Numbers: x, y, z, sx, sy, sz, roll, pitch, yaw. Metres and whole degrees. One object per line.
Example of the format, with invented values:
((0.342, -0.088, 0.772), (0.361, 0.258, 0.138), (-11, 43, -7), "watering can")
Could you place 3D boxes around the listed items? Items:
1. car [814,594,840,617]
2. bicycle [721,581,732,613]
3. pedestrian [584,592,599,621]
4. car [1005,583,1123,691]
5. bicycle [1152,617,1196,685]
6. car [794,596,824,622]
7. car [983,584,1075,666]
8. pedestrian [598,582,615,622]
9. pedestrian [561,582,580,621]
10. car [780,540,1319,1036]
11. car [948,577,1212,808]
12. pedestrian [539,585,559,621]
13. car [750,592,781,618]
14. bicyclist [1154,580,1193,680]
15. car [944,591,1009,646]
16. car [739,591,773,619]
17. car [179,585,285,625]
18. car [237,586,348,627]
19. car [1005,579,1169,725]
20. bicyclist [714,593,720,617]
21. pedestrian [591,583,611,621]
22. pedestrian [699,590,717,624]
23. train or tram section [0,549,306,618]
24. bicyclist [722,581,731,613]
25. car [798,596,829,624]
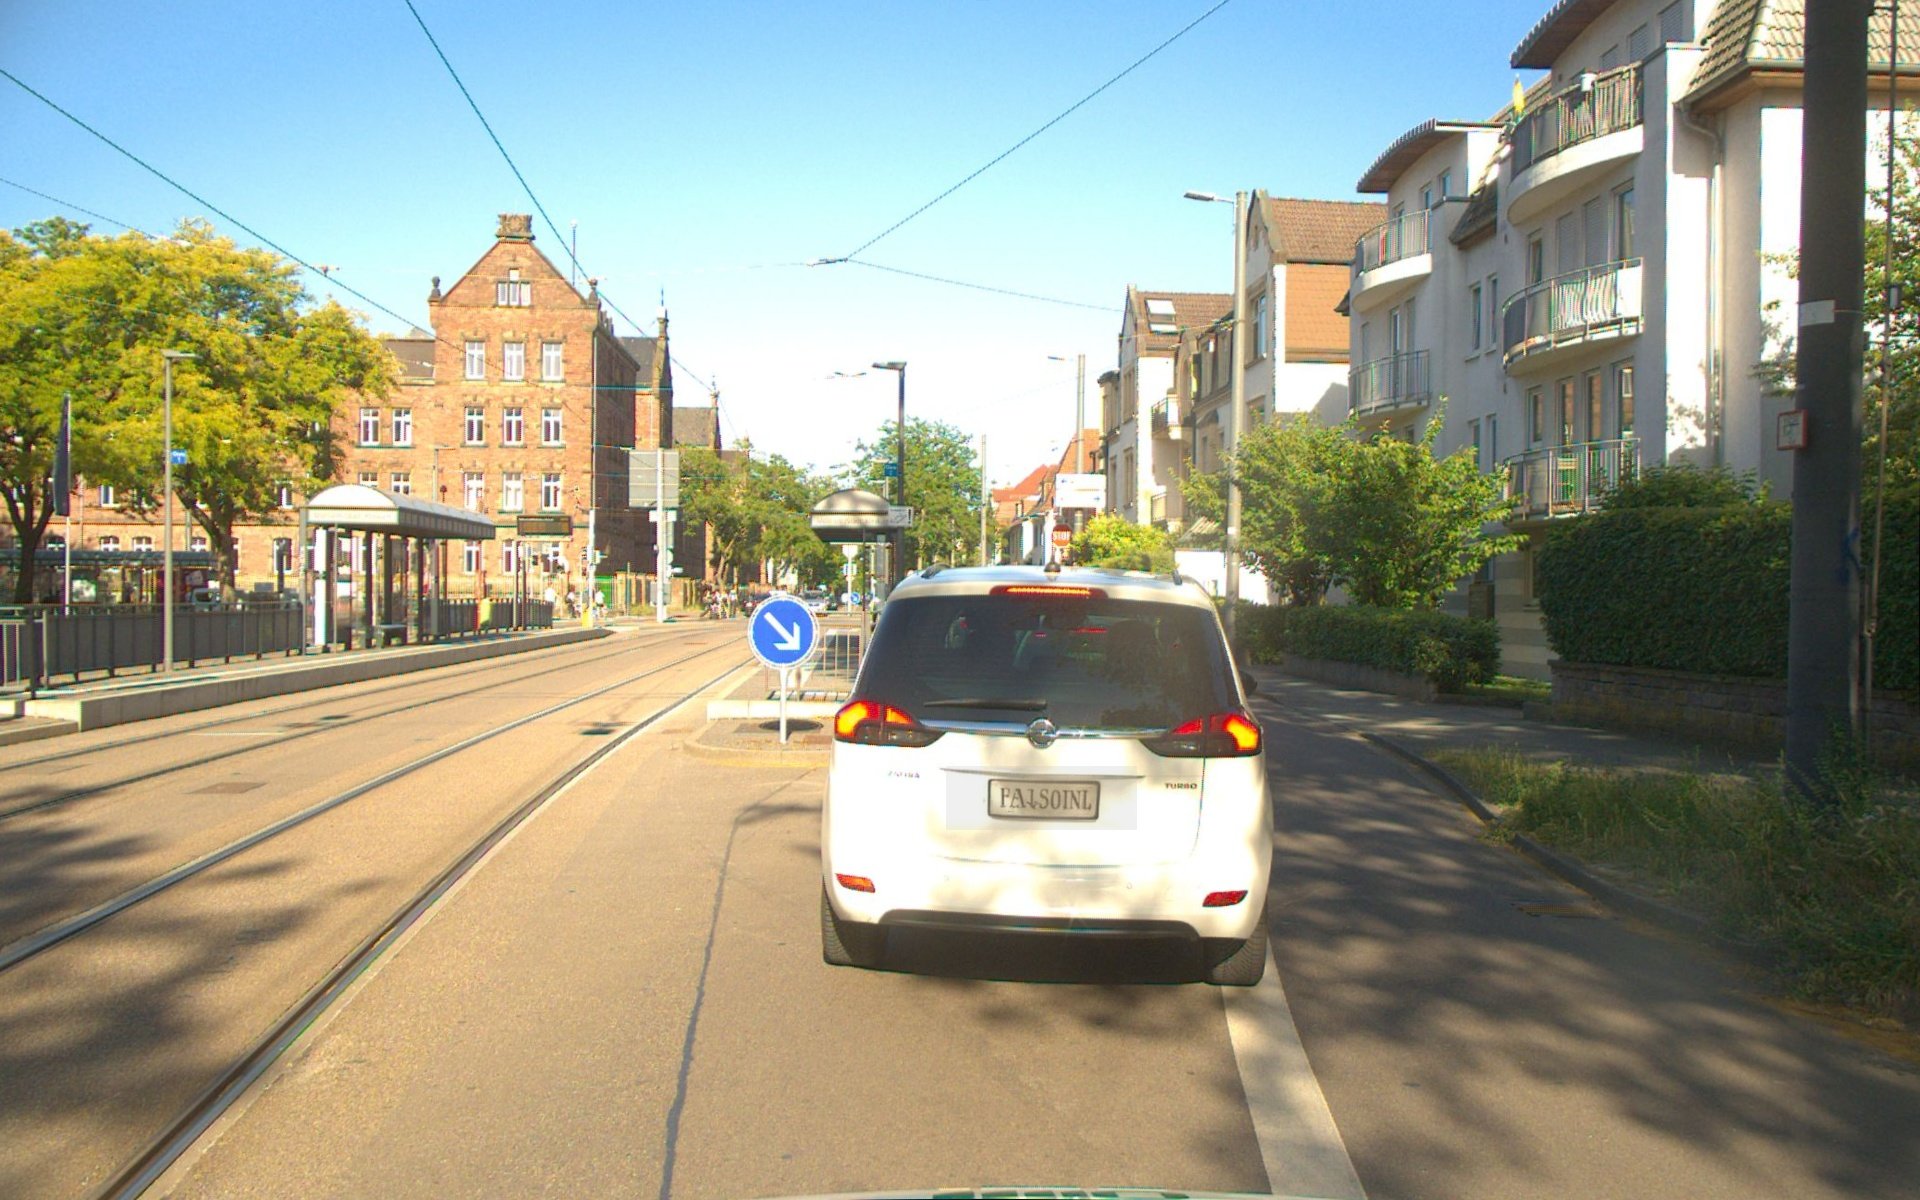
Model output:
((-10.369, 0.449, 128.895), (1.711, 1.746, 3.999), (1, 0, -1), "car")
((-15.359, -0.198, 108.802), (0.477, 2.049, 1.405), (0, 0, -1), "bicycle")
((-21.145, 0.375, 94.957), (0.640, 1.640, 0.711), (1, -1, 1), "pedestrian")
((1.786, 0.577, 28.283), (1.867, 1.690, 4.002), (0, 0, 4), "car")
((3.714, 0.870, 28.812), (0.611, 1.116, 1.974), (0, 0, 3), "bicycle")
((-10.481, 0.603, 115.039), (1.711, 1.746, 3.999), (1, 0, -1), "car")
((1.442, 0.504, 36.116), (1.868, 1.690, 4.000), (0, 0, 0), "car")
((-18.091, 0.093, 84.687), (0.782, 2.049, 0.717), (1, -1, -18), "pedestrian")
((-20.719, 0.089, 88.017), (0.788, 2.049, 0.712), (1, -1, -34), "pedestrian")
((0.517, 0.631, 7.738), (1.866, 1.690, 4.003), (0, 0, 6), "car")
((1.066, 0.647, 13.771), (1.866, 1.625, 4.003), (0, 0, 6), "car")
((-22.030, 0.149, 88.648), (0.791, 1.934, 0.744), (1, -1, 13), "pedestrian")
((-13.317, 0.363, 113.493), (1.711, 1.746, 3.999), (1, 0, -1), "car")
((3.716, 0.516, 28.838), (0.603, 1.716, 0.779), (0, 0, 3), "bicyclist")
((0.497, 0.557, 53.079), (1.869, 1.690, 3.998), (0, 0, -2), "car")
((-13.171, 0.303, 106.829), (1.711, 1.746, 3.999), (1, 0, -1), "car")
((-32.454, 0.225, 73.812), (3.908, 1.658, 1.817), (1, 0, -4), "car")
((-28.123, 0.272, 69.740), (3.908, 1.658, 1.817), (1, 0, -4), "car")
((1.677, 0.587, 21.004), (1.866, 1.653, 4.003), (0, 0, 6), "car")
((-15.115, 0.296, 102.797), (0.307, 1.469, 0.384), (0, 0, -1), "bicyclist")
((-19.265, 0.118, 88.662), (0.789, 2.049, 0.711), (1, -1, -38), "pedestrian")
((-14.616, 0.418, 95.936), (0.733, 1.934, 0.803), (1, -1, -28), "pedestrian")
((-40.757, -0.756, 79.414), (17.048, 3.210, 3.343), (0, 0, -6), "train or tram section")
((-15.365, -0.199, 108.820), (0.488, 2.049, 0.572), (0, 0, -1), "bicyclist")
((-9.463, 0.625, 107.197), (1.711, 1.746, 3.999), (1, 0, -1), "car")
